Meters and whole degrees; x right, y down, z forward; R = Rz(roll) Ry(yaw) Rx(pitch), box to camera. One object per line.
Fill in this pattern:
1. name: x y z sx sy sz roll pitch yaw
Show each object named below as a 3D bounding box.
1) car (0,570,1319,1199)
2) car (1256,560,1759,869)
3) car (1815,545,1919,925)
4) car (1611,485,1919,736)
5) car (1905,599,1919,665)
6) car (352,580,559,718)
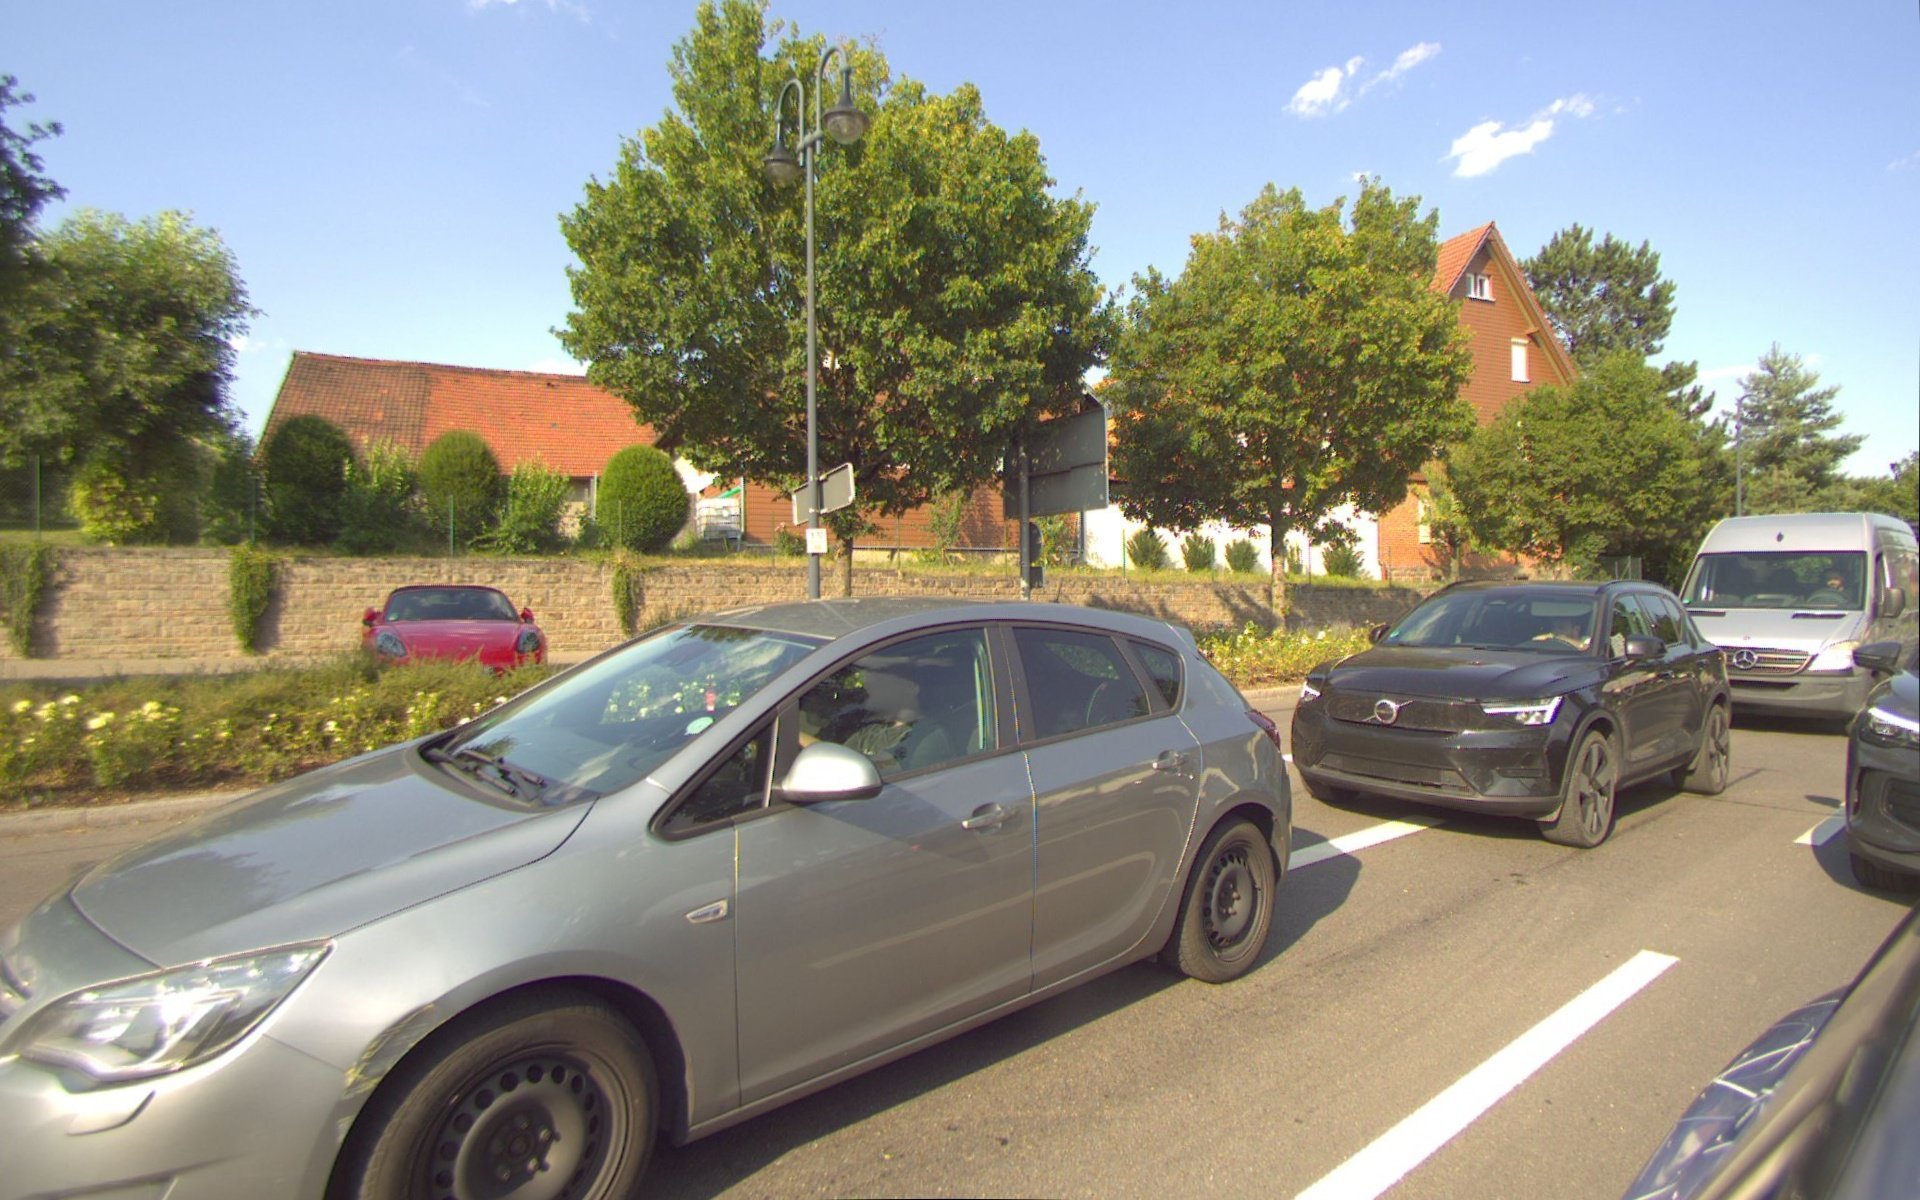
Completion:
1. car: -0.618 0.670 3.478 4.095 1.460 1.746 0 0 -41
2. car: 4.127 0.587 7.364 4.054 1.629 1.885 0 0 -40
3. car: 6.377 0.590 5.514 4.646 1.677 1.893 0 0 -40
4. car: 10.929 0.086 13.245 6.082 2.579 2.369 0 0 -40
5. car: 21.796 0.659 21.605 4.056 1.371 1.766 0 0 -38
6. car: -5.823 0.449 11.703 1.816 1.288 4.005 0 0 -28
